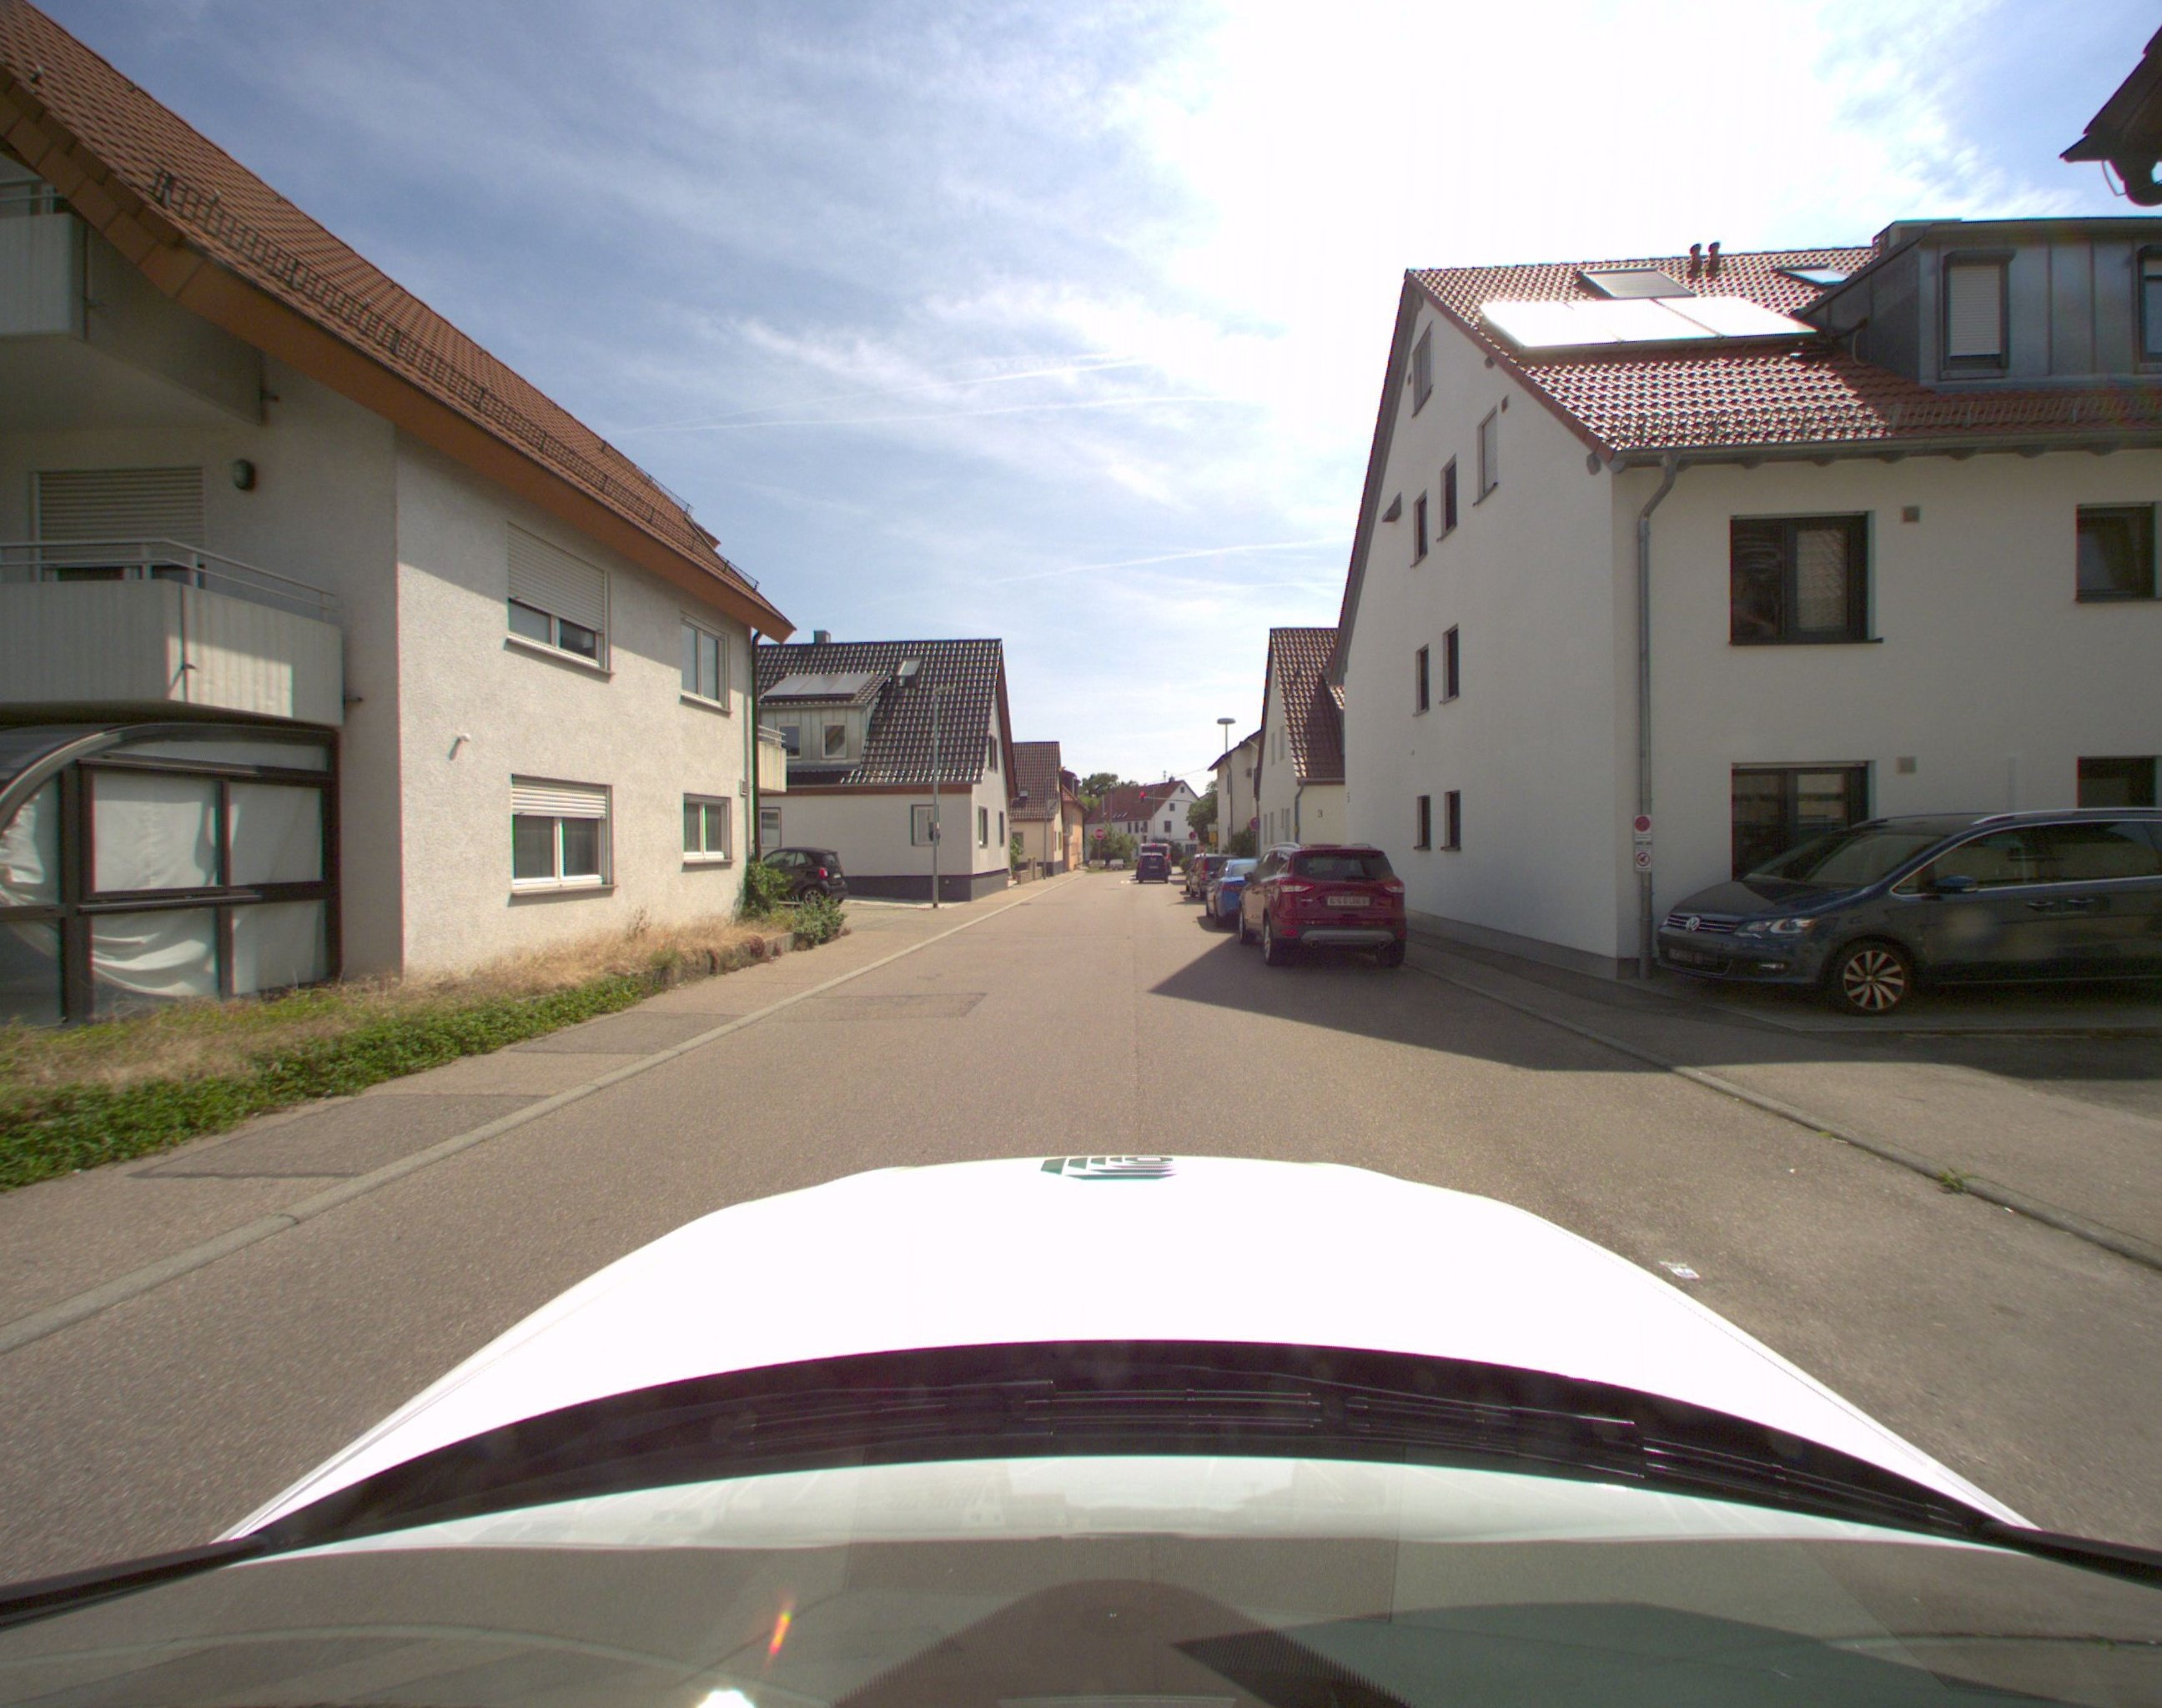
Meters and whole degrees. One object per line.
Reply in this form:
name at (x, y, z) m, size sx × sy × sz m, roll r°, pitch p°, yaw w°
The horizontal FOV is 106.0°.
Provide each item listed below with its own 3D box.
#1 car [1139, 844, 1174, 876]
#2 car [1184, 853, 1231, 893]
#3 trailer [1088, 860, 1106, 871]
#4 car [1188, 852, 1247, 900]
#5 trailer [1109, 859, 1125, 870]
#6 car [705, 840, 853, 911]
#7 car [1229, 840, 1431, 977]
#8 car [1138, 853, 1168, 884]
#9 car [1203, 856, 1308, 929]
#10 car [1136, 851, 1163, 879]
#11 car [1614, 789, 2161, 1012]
car at (5.376, 0.399, 57.487) m, size 2.116 × 2.158 × 4.749 m, roll -1°, pitch 0°, yaw 9°
car at (4.976, 0.714, 32.364) m, size 1.492 × 1.513 × 3.364 m, roll 0°, pitch 0°, yaw 2°
trailer at (1.442, 1.054, 73.370) m, size 1.494 × 0.927 × 1.014 m, roll 2°, pitch 0°, yaw 5°
car at (4.663, 0.723, 28.163) m, size 1.561 × 1.545 × 3.450 m, roll 0°, pitch 0°, yaw 1°
trailer at (3.229, 0.919, 72.937) m, size 1.304 × 0.970 × 0.935 m, roll -1°, pitch 0°, yaw 5°
car at (-7.786, 0.535, 21.184) m, size 3.098 × 1.577 × 1.715 m, roll 3°, pitch 0°, yaw 2°
car at (3.505, 0.681, 12.300) m, size 1.868 × 1.700 × 4.184 m, roll 0°, pitch 0°, yaw 1°
car at (3.870, 0.735, 43.490) m, size 1.508 × 1.567 × 3.190 m, roll 0°, pitch 0°, yaw 7°
car at (3.786, 0.767, 18.395) m, size 1.755 × 1.424 × 4.598 m, roll 0°, pitch 0°, yaw 5°
car at (4.087, 0.623, 48.219) m, size 1.508 × 1.624 × 3.190 m, roll 0°, pitch 0°, yaw 7°
car at (8.058, 0.390, 7.871) m, size 4.499 × 1.843 × 2.001 m, roll -1°, pitch 0°, yaw 1°
